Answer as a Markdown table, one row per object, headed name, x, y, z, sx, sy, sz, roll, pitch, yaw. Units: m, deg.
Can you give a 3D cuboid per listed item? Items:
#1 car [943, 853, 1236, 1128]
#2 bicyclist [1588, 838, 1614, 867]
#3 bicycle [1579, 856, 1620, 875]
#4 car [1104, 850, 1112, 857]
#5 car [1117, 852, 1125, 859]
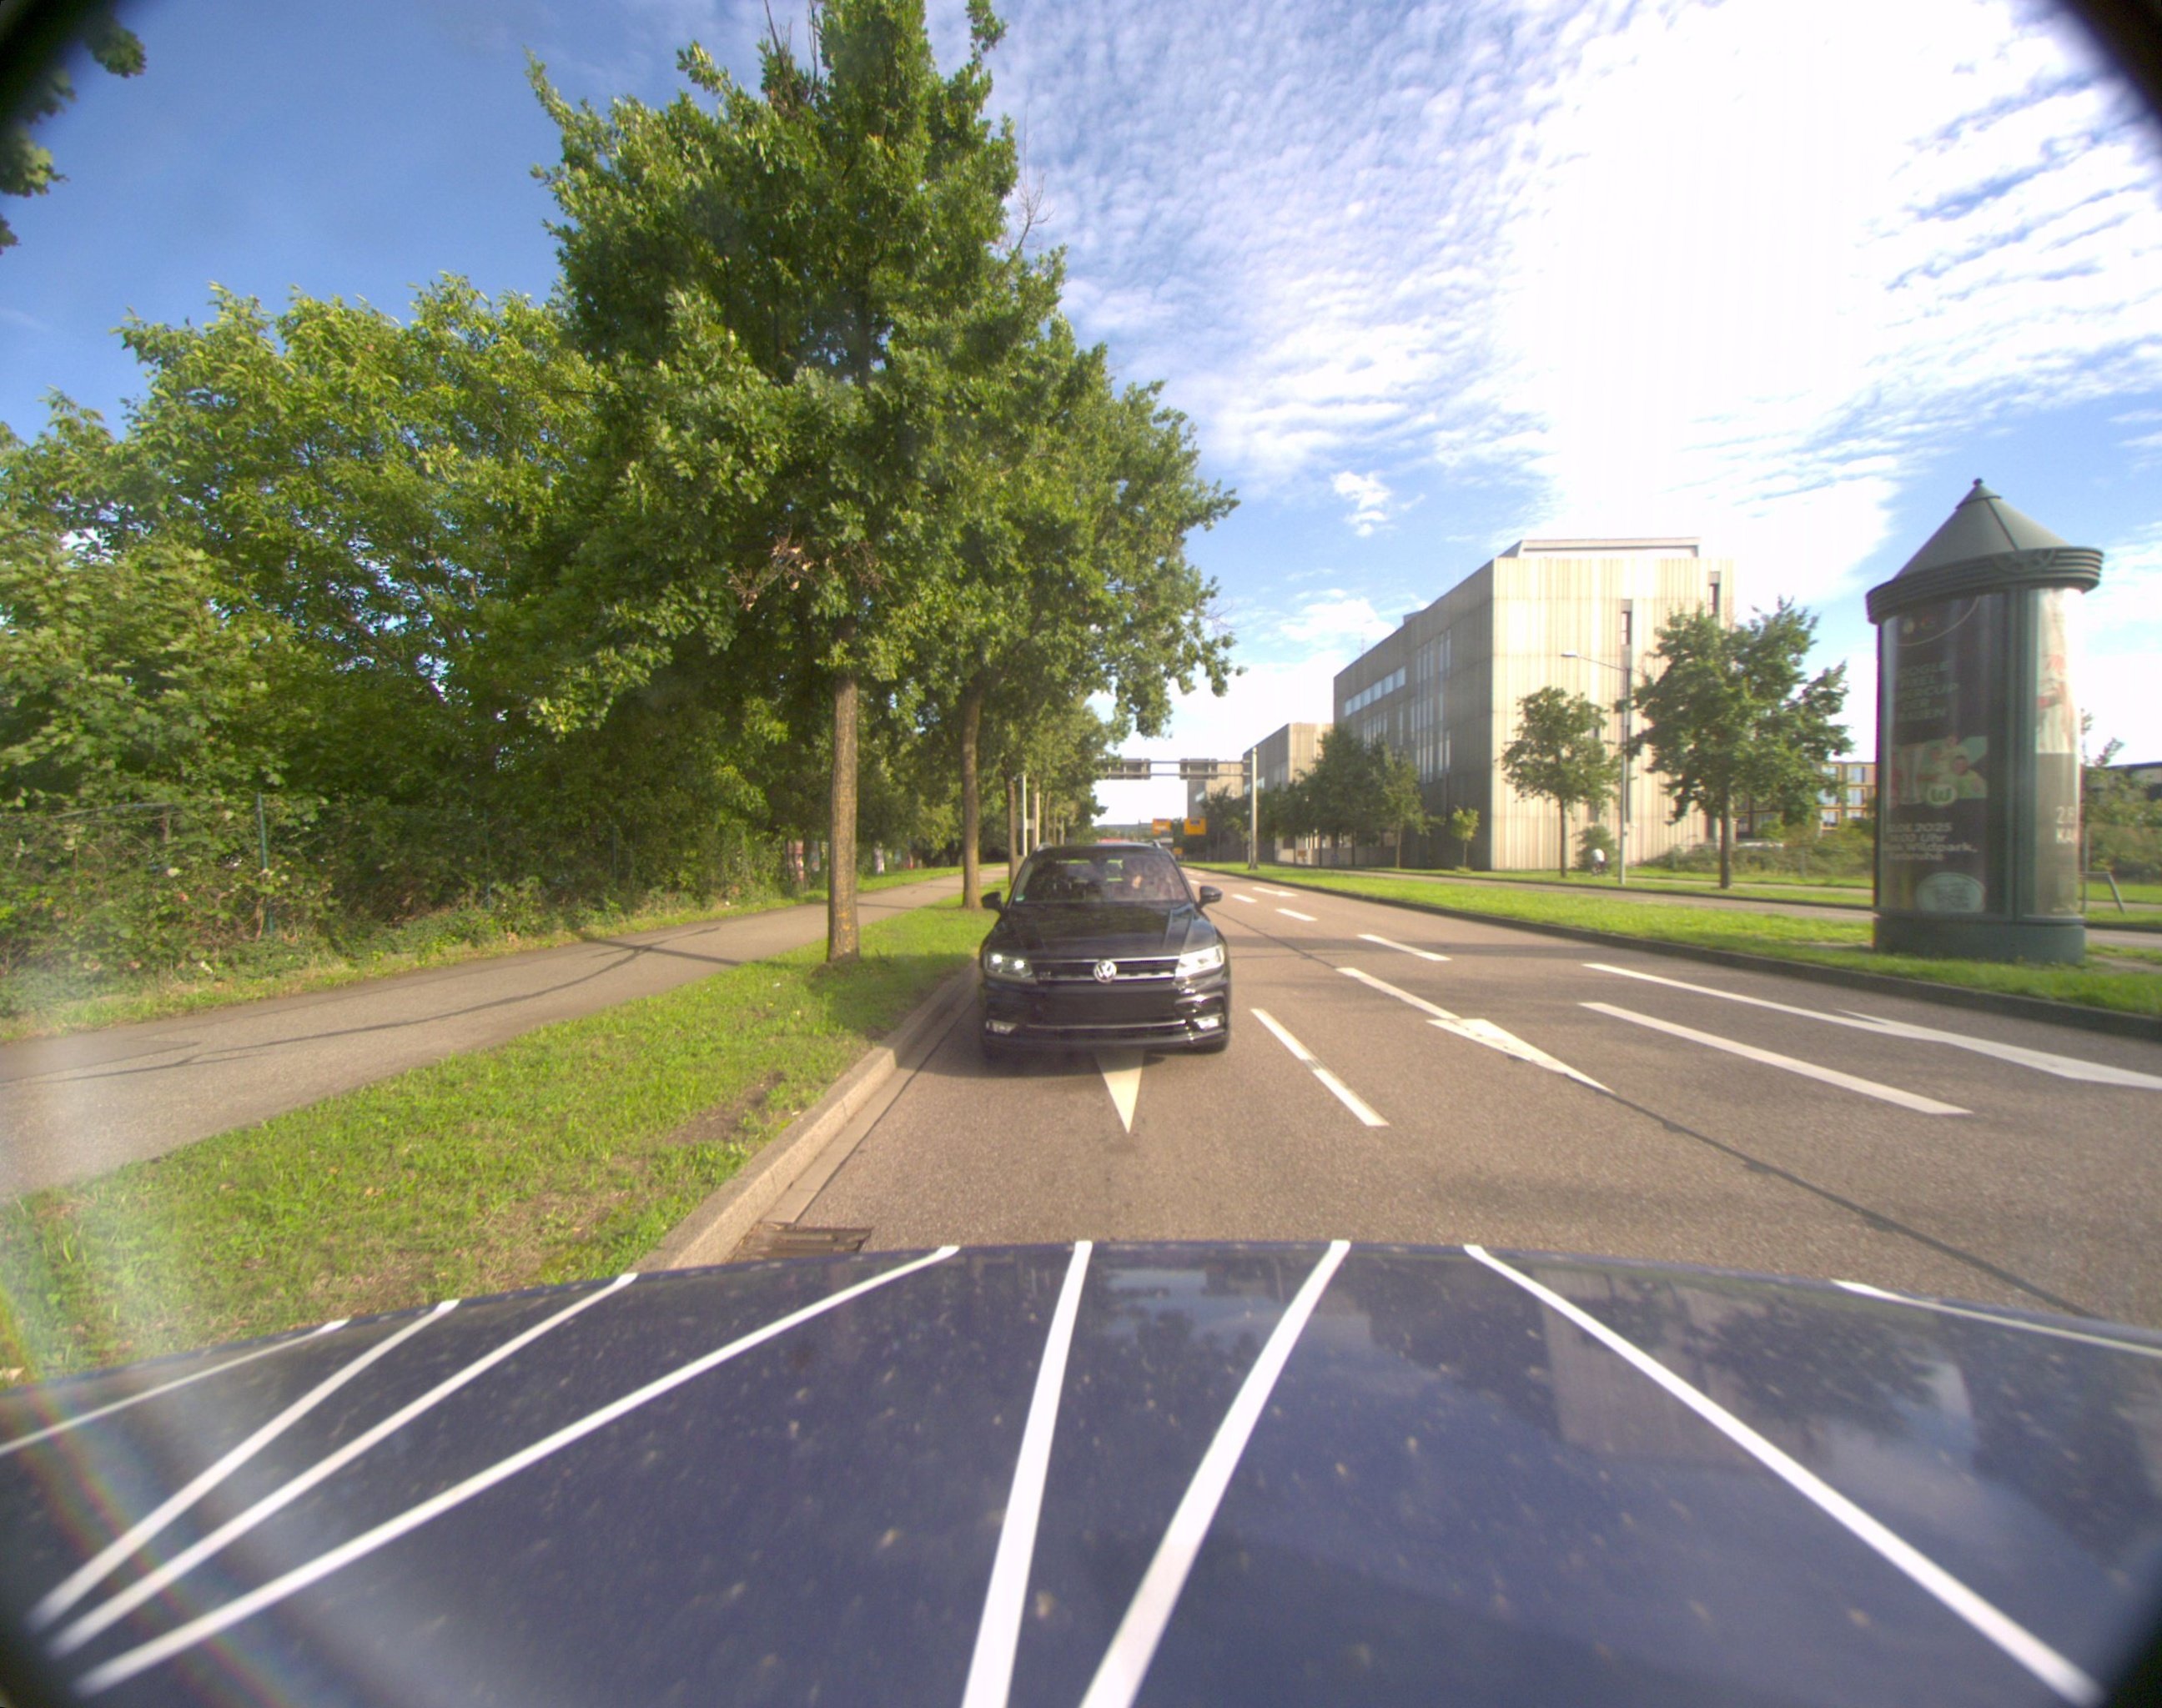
| name | x | y | z | sx | sy | sz | roll | pitch | yaw |
| --- | --- | --- | --- | --- | --- | --- | --- | --- | --- |
| car | 0.106 | 0.853 | 6.657 | 1.775 | 1.637 | 3.868 | -2 | 1 | 2 |
| bicyclist | 27.927 | -0.093 | 40.785 | 0.707 | 1.517 | 0.989 | 0 | 1 | 1 |
| bicycle | 27.919 | 0.627 | 40.979 | 0.897 | 0.975 | 1.911 | 0 | 0 | 1 |
| car | 6.321 | -0.079 | 177.252 | 1.758 | 1.696 | 4.000 | -1 | 0 | 0 |
| car | 8.546 | 0.235 | 161.421 | 1.745 | 1.455 | 4.000 | -1 | 1 | 3 |
